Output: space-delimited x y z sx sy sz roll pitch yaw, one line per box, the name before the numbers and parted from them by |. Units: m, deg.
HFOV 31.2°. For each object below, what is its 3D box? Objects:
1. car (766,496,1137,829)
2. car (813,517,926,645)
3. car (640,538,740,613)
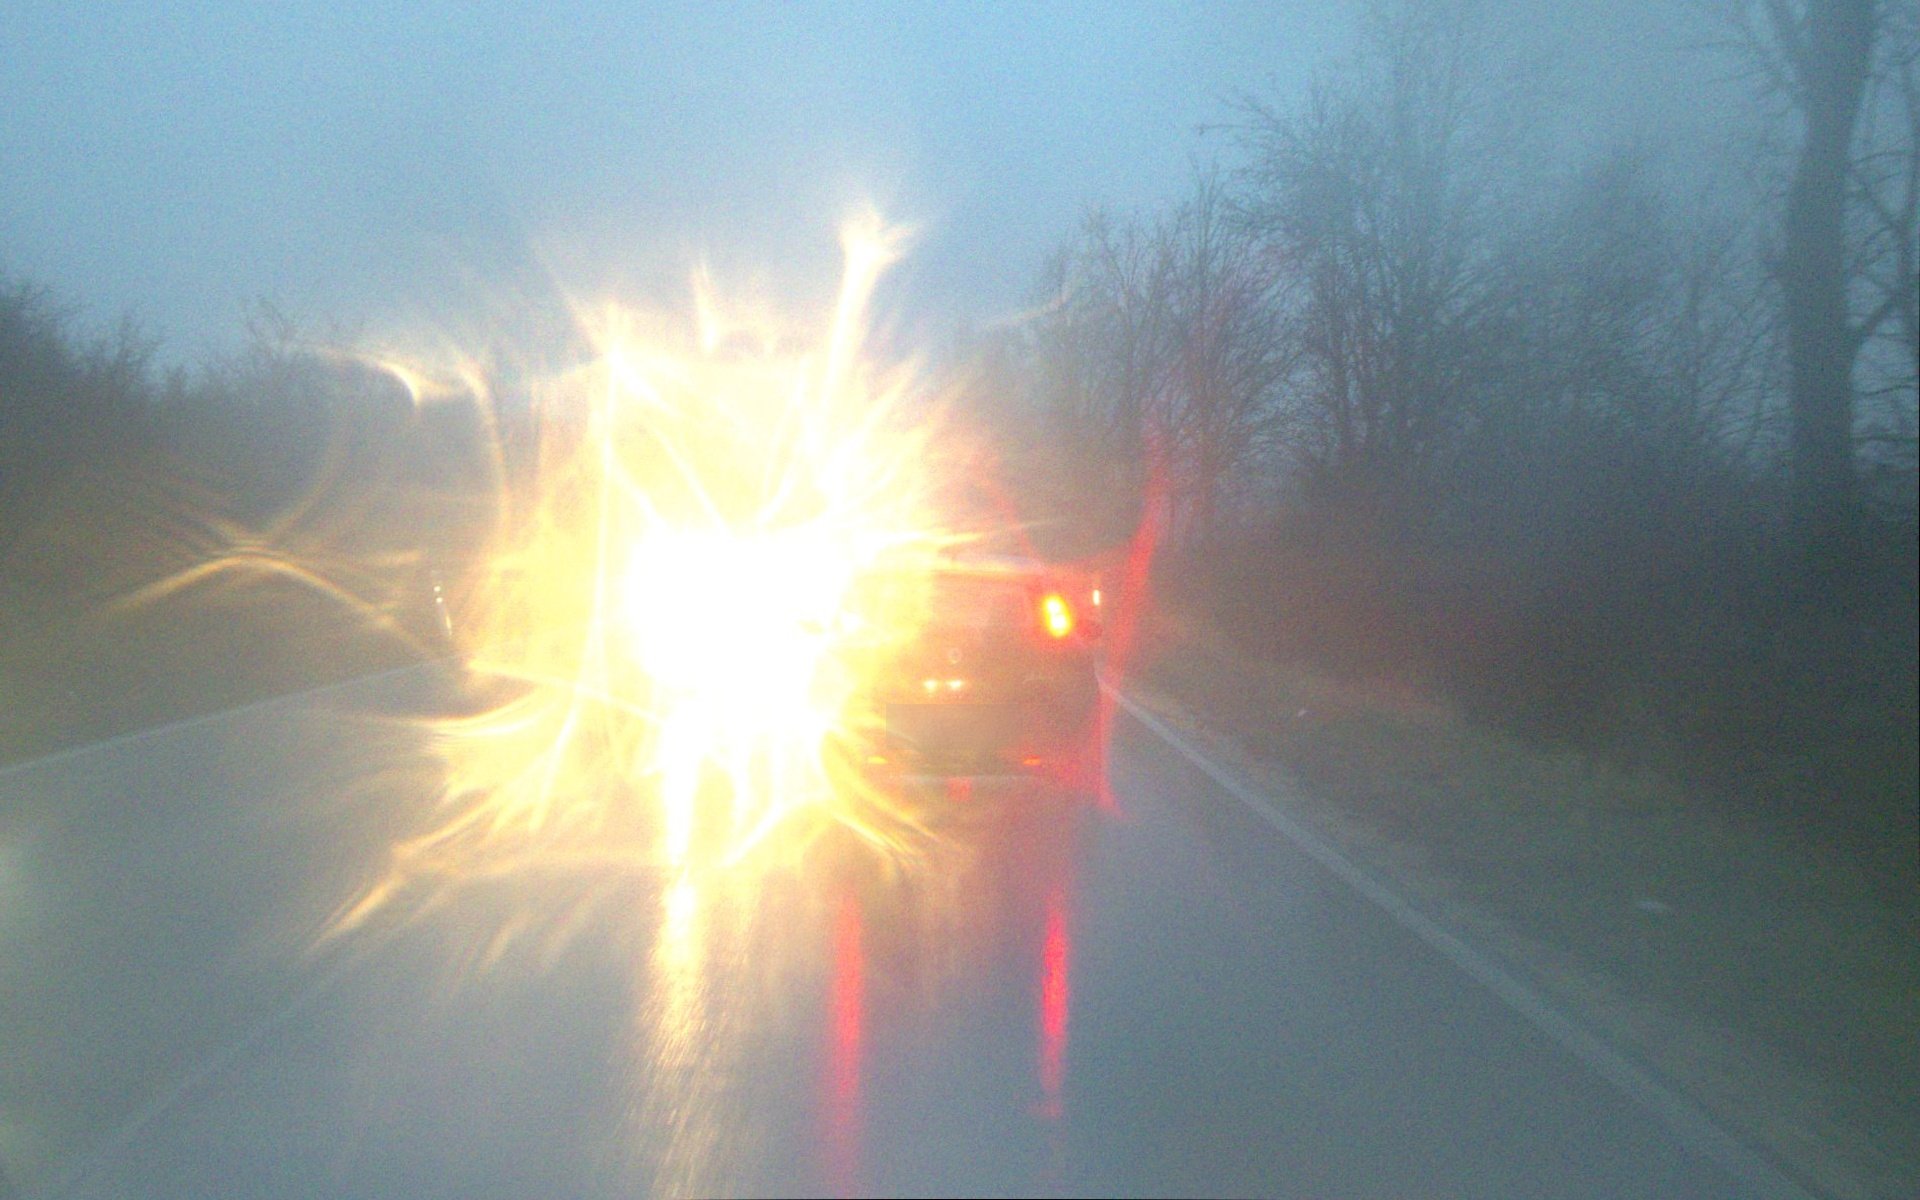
car | -0.026 0.305 20.774 1.993 1.778 4.000 1 1 1
car | -1.359 -0.314 52.728 1.574 1.868 3.709 1 1 1
car | -5.435 -0.521 69.553 1.751 1.469 3.891 0 1 -1
